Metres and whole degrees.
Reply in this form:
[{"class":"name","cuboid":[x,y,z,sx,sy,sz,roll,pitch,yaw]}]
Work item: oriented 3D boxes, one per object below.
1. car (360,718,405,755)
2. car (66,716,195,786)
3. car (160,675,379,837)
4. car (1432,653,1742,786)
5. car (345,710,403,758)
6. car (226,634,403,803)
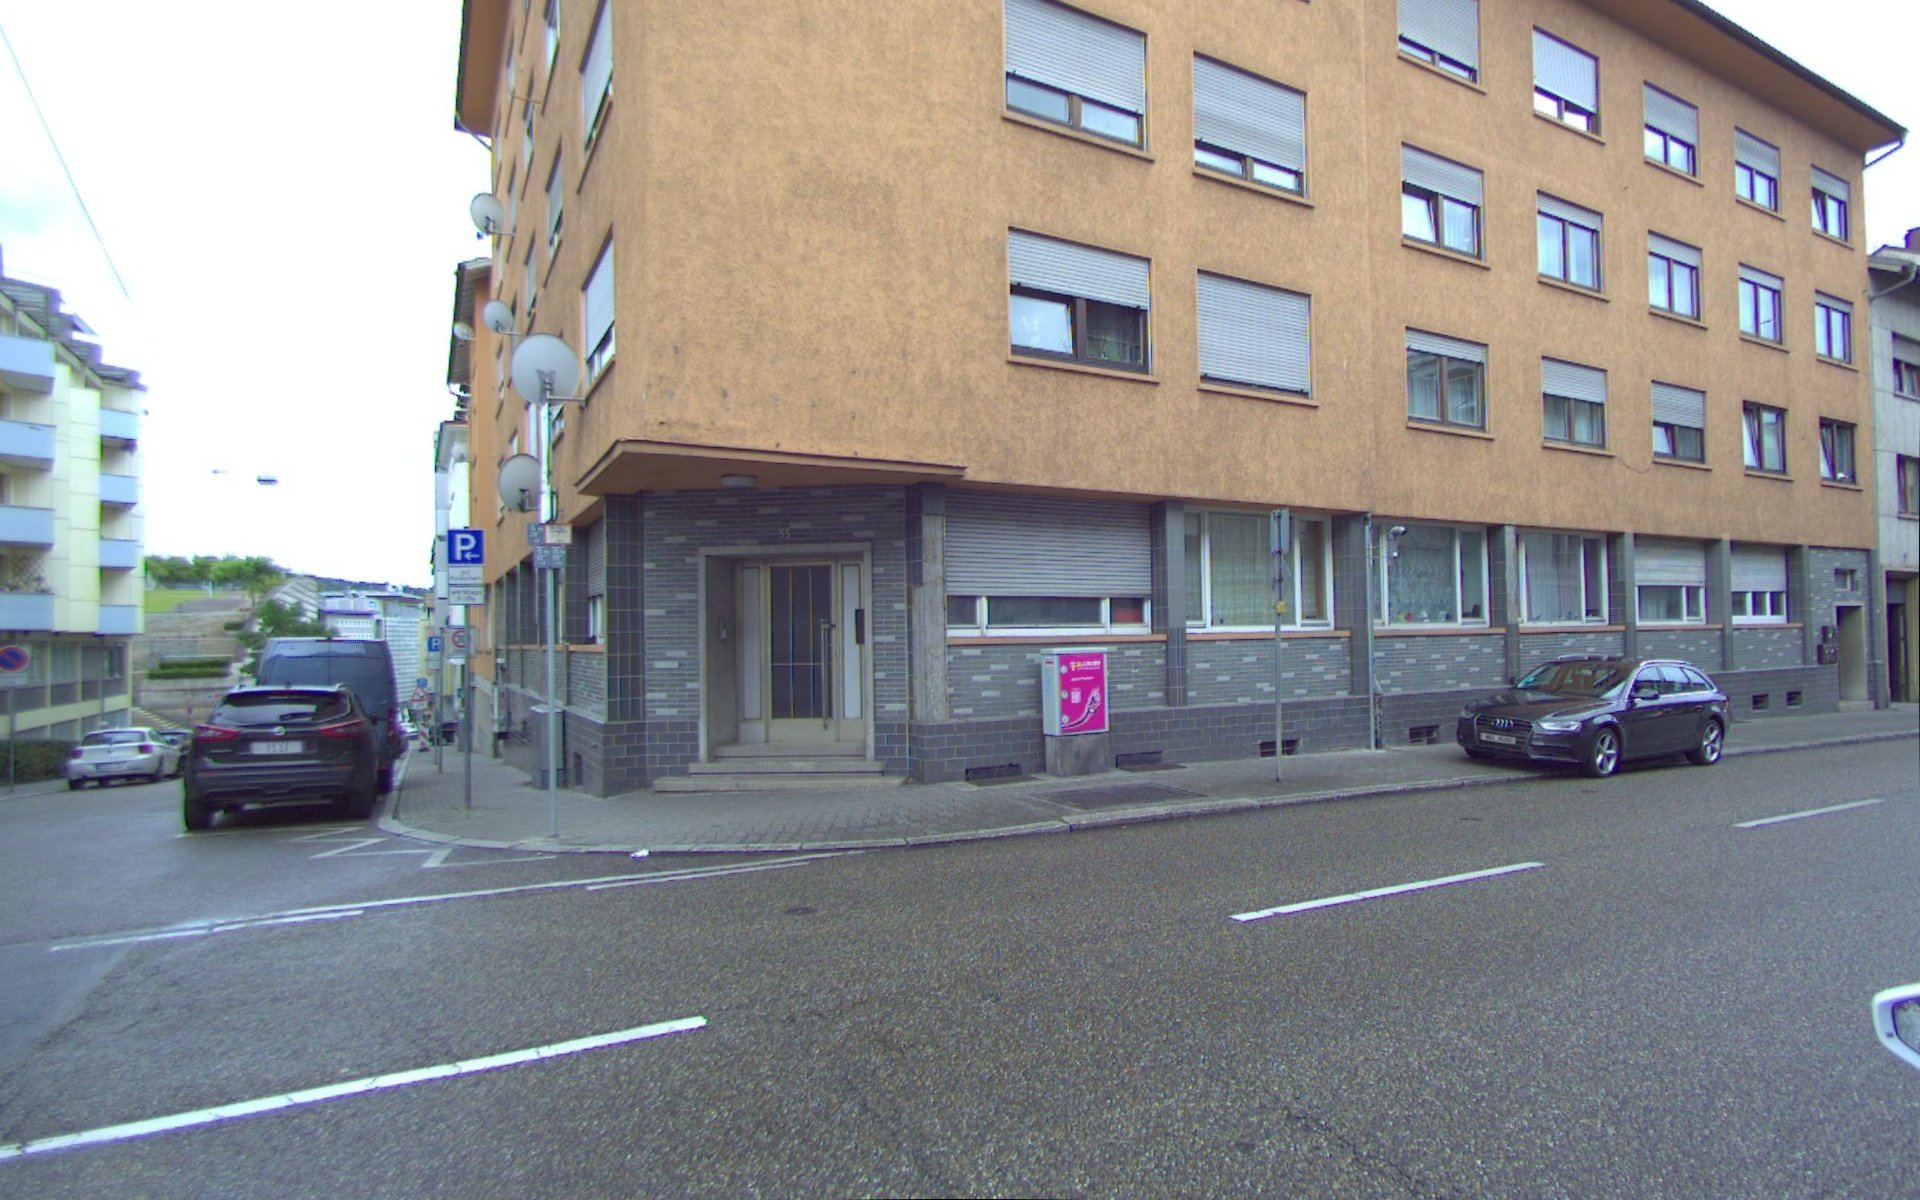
[{"class":"car","cuboid":[-26.109,6.168,45.506,1.702,1.513,4.026,1,-7,-29]},{"class":"car","cuboid":[-21.305,3.853,25.976,1.819,1.566,3.973,1,-7,-29]},{"class":"car","cuboid":[-8.332,1.868,12.492,1.820,1.596,4.127,1,-7,-29]},{"class":"car","cuboid":[8.757,1.534,13.936,4.474,1.457,1.786,1,0,-31]},{"class":"car","cuboid":[-22.521,5.157,38.707,1.796,1.696,4.026,1,-7,-29]},{"class":"car","cuboid":[-11.332,2.100,18.083,2.223,2.492,6.017,1,-7,-29]}]
